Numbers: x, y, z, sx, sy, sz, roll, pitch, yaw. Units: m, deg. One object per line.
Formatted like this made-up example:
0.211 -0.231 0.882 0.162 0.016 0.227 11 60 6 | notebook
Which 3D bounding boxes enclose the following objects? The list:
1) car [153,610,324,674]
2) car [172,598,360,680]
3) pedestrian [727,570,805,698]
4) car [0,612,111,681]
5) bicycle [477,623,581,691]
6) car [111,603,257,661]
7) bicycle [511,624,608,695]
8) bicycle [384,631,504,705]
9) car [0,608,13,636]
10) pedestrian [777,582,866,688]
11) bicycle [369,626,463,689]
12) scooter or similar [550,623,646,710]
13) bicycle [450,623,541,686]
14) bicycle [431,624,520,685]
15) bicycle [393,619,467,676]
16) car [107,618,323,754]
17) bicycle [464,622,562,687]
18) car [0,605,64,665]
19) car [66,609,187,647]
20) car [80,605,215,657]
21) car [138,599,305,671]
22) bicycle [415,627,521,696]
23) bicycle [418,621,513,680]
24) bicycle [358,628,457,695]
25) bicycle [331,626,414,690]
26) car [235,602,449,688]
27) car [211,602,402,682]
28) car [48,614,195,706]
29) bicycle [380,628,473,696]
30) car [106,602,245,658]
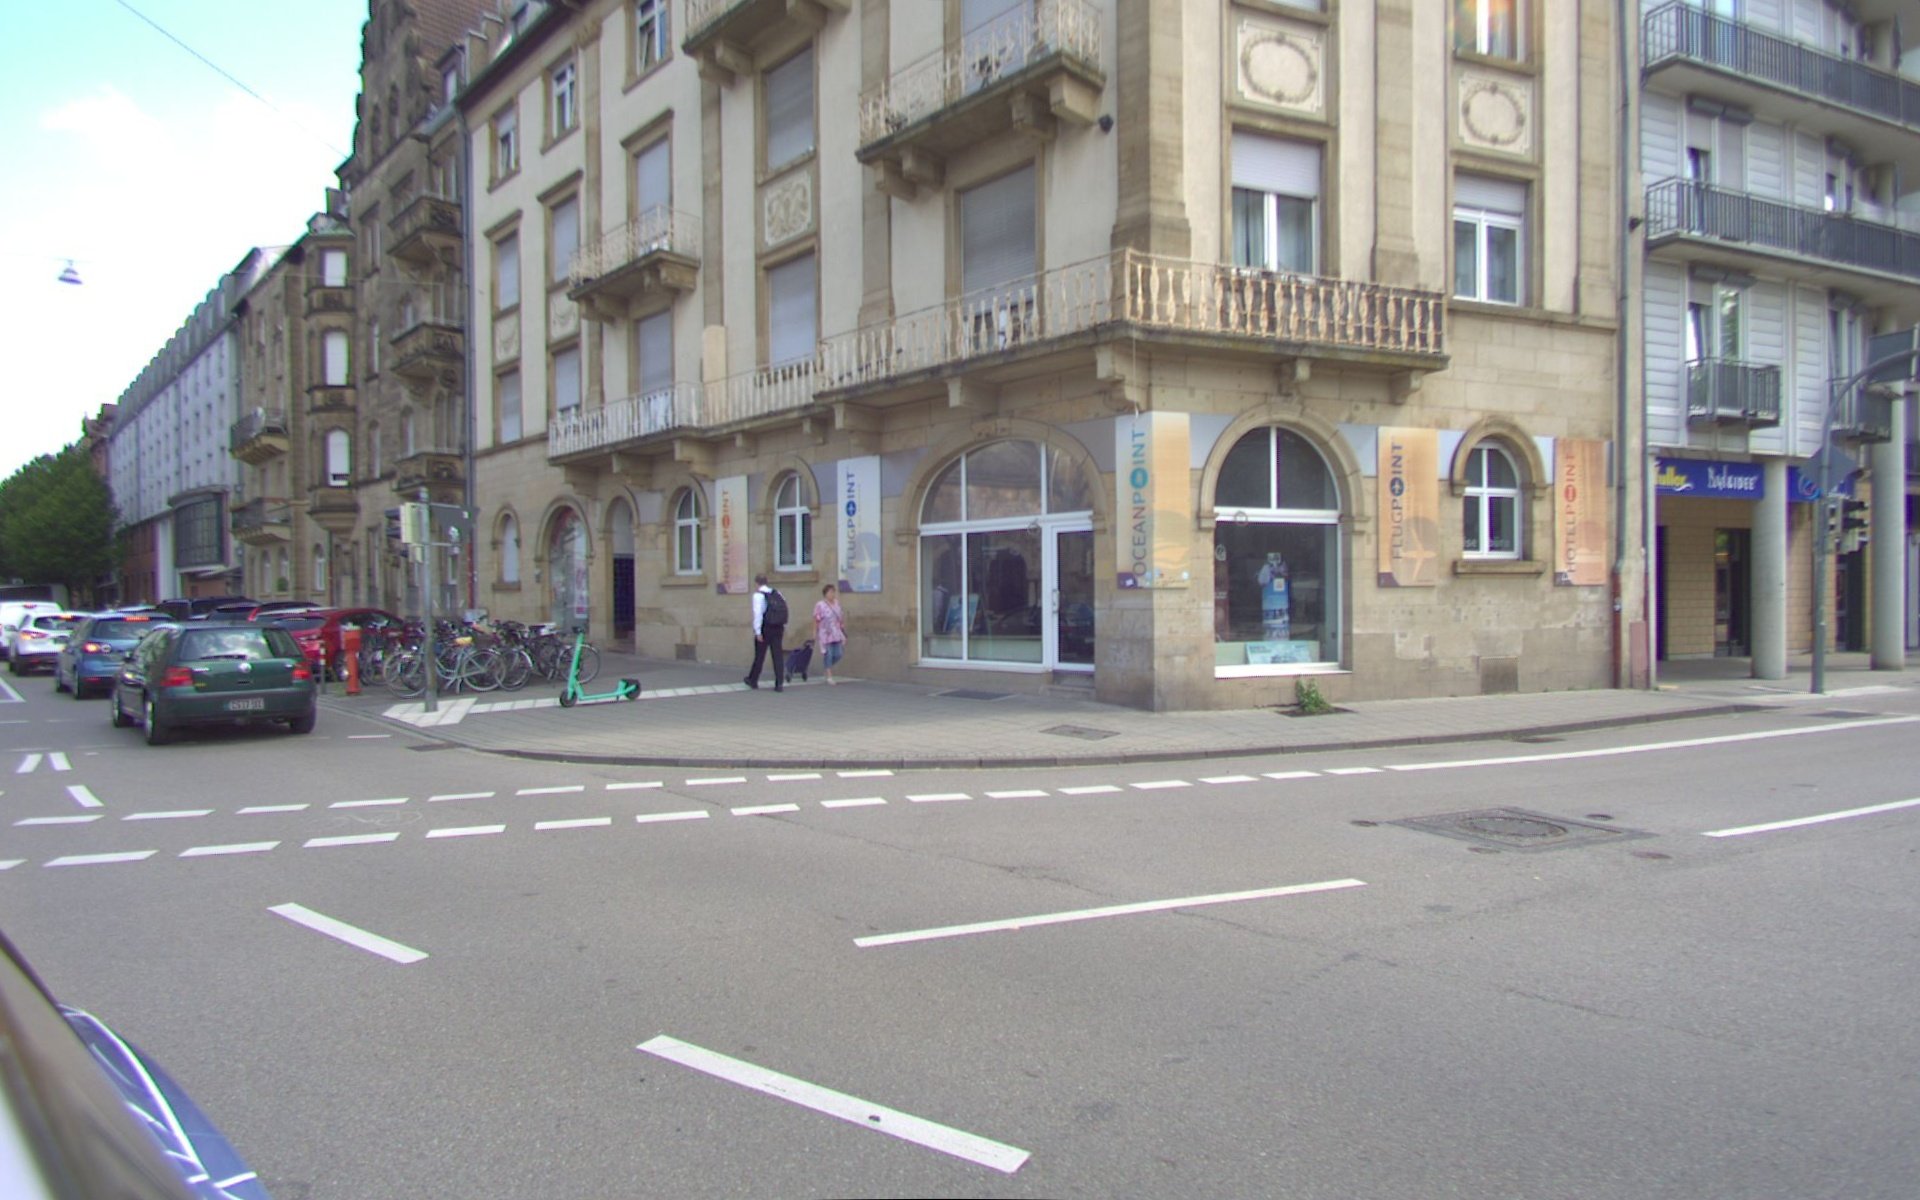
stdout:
-20.405 1.128 28.833 1.710 1.440 3.947 -3 2 6 | car
-17.501 0.910 25.787 1.780 1.702 3.949 -3 2 5 | car
-2.982 0.491 15.543 0.906 1.874 0.793 3 3 44 | pedestrian
-22.827 1.140 25.474 4.021 1.594 1.751 -2 -3 43 | car
-7.647 0.985 17.984 1.588 1.060 0.481 -3 2 -38 | bicycle
-26.568 1.054 34.843 1.709 1.597 3.950 -2 3 5 | car
-6.806 0.994 17.239 1.420 1.060 0.482 -3 2 -36 | bicycle
-8.563 1.107 16.809 1.707 1.060 0.533 -3 1 -29 | bicycle
-58.732 1.345 61.302 1.865 1.663 3.893 -1 0 -44 | car
-2.239 0.544 16.410 0.930 1.606 0.996 -6 3 -45 | pedestrian
-10.332 1.066 19.259 0.462 1.060 1.464 -1 2 41 | bicycle
-5.332 0.964 14.907 1.232 1.154 0.482 -3 2 -28 | scooter or similar
-8.803 1.017 19.216 1.463 1.060 0.463 -4 2 -45 | bicycle
-9.365 1.032 19.599 0.462 1.060 1.464 -1 2 41 | bicycle
-11.409 0.998 21.848 0.550 1.060 1.905 -2 1 0 | bicycle
-9.779 0.986 13.176 3.820 1.444 1.694 0 0 45 | car
-8.271 0.991 18.768 1.557 1.060 0.481 -3 2 -38 | bicycle
-29.768 1.087 32.012 4.284 1.789 1.792 -2 -2 44 | car
-35.290 1.148 42.993 1.709 1.485 3.949 -1 0 5 | car
-31.100 1.147 38.906 1.709 1.597 3.949 -3 2 5 | car
-22.305 0.988 30.764 1.712 1.882 3.942 -2 2 10 | car
-8.593 1.050 17.708 1.557 1.060 0.481 -3 2 -38 | bicycle
-10.023 1.008 20.548 0.558 1.060 1.609 -1 2 43 | bicycle
-9.900 1.086 18.166 0.462 1.060 1.463 -1 2 45 | bicycle
-11.326 1.097 19.568 0.550 1.060 1.813 -2 1 -1 | bicycle
-13.081 0.886 21.745 1.790 1.468 3.993 -3 2 6 | car
-15.178 0.915 23.792 1.709 1.467 3.951 -4 2 3 | car
-16.133 1.067 19.413 3.932 1.552 1.728 -1 0 44 | car
-9.473 1.087 18.001 0.418 1.059 1.354 -1 2 42 | bicycle
-28.494 1.044 36.917 1.709 1.597 3.950 -3 3 5 | car
